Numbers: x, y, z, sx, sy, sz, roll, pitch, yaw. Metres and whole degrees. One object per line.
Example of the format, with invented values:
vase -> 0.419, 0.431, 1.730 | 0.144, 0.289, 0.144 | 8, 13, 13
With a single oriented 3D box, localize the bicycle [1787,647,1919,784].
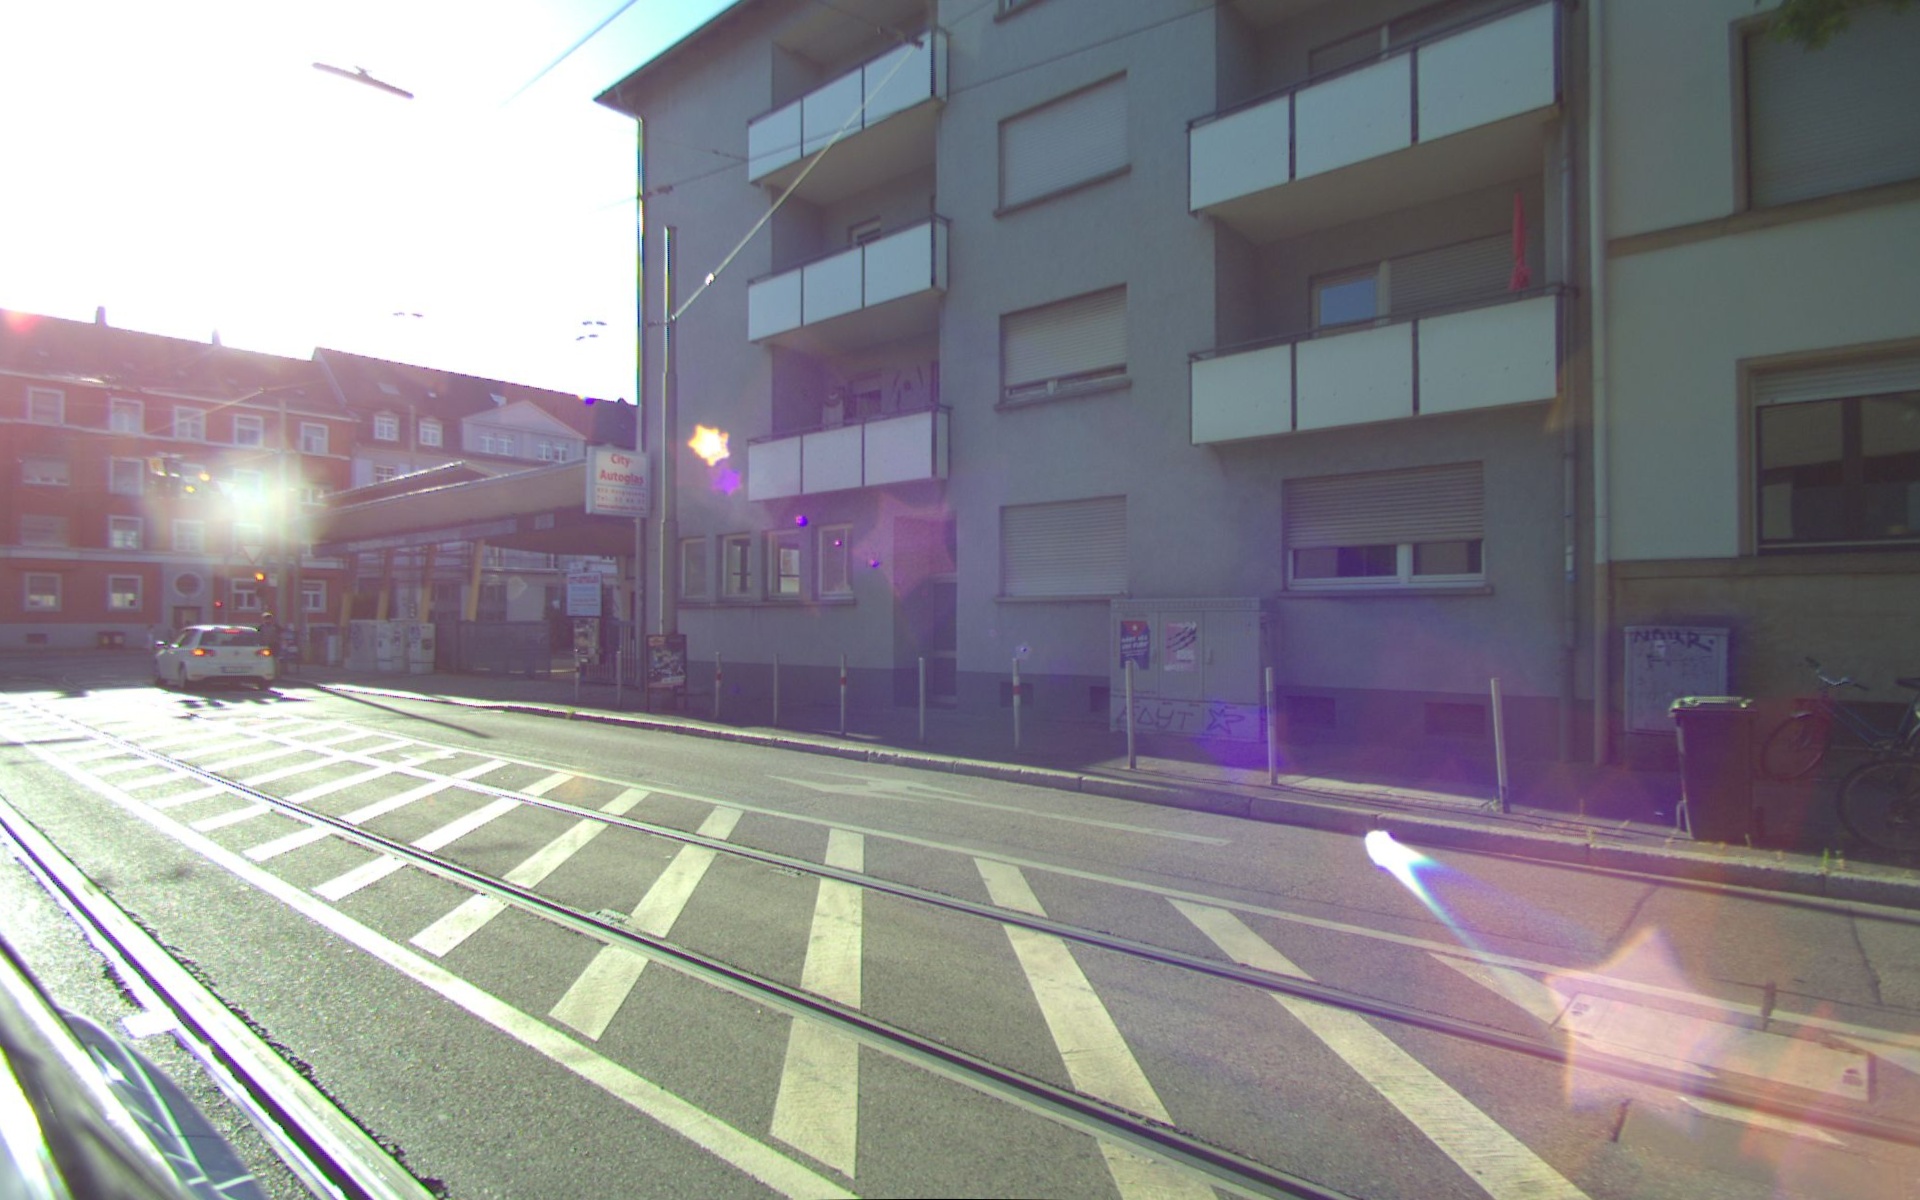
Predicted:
bicycle -> 7.666, 0.924, 8.052 | 1.661, 1.050, 0.300 | -1, 0, 41

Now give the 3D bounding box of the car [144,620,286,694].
car -> -17.707, 1.279, 23.990 | 3.998, 1.536, 1.898 | -1, 0, 41

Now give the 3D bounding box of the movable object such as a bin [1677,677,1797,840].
movable object such as a bin -> 5.023, 0.998, 6.541 | 0.582, 0.942, 0.420 | -1, 0, 41

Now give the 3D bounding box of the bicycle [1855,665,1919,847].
bicycle -> 6.185, 0.928, 5.723 | 1.661, 1.050, 0.300 | -1, 0, 41

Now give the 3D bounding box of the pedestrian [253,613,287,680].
pedestrian -> -18.875, 1.258, 27.694 | 0.583, 1.787, 0.631 | -1, 0, 41

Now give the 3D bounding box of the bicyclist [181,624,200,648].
bicyclist -> -41.162, 1.911, 54.158 | 0.664, 1.233, 0.550 | -1, 0, 22

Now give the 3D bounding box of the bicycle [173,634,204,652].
bicycle -> -41.320, 2.313, 54.220 | 1.666, 0.956, 0.550 | -1, 0, 23
